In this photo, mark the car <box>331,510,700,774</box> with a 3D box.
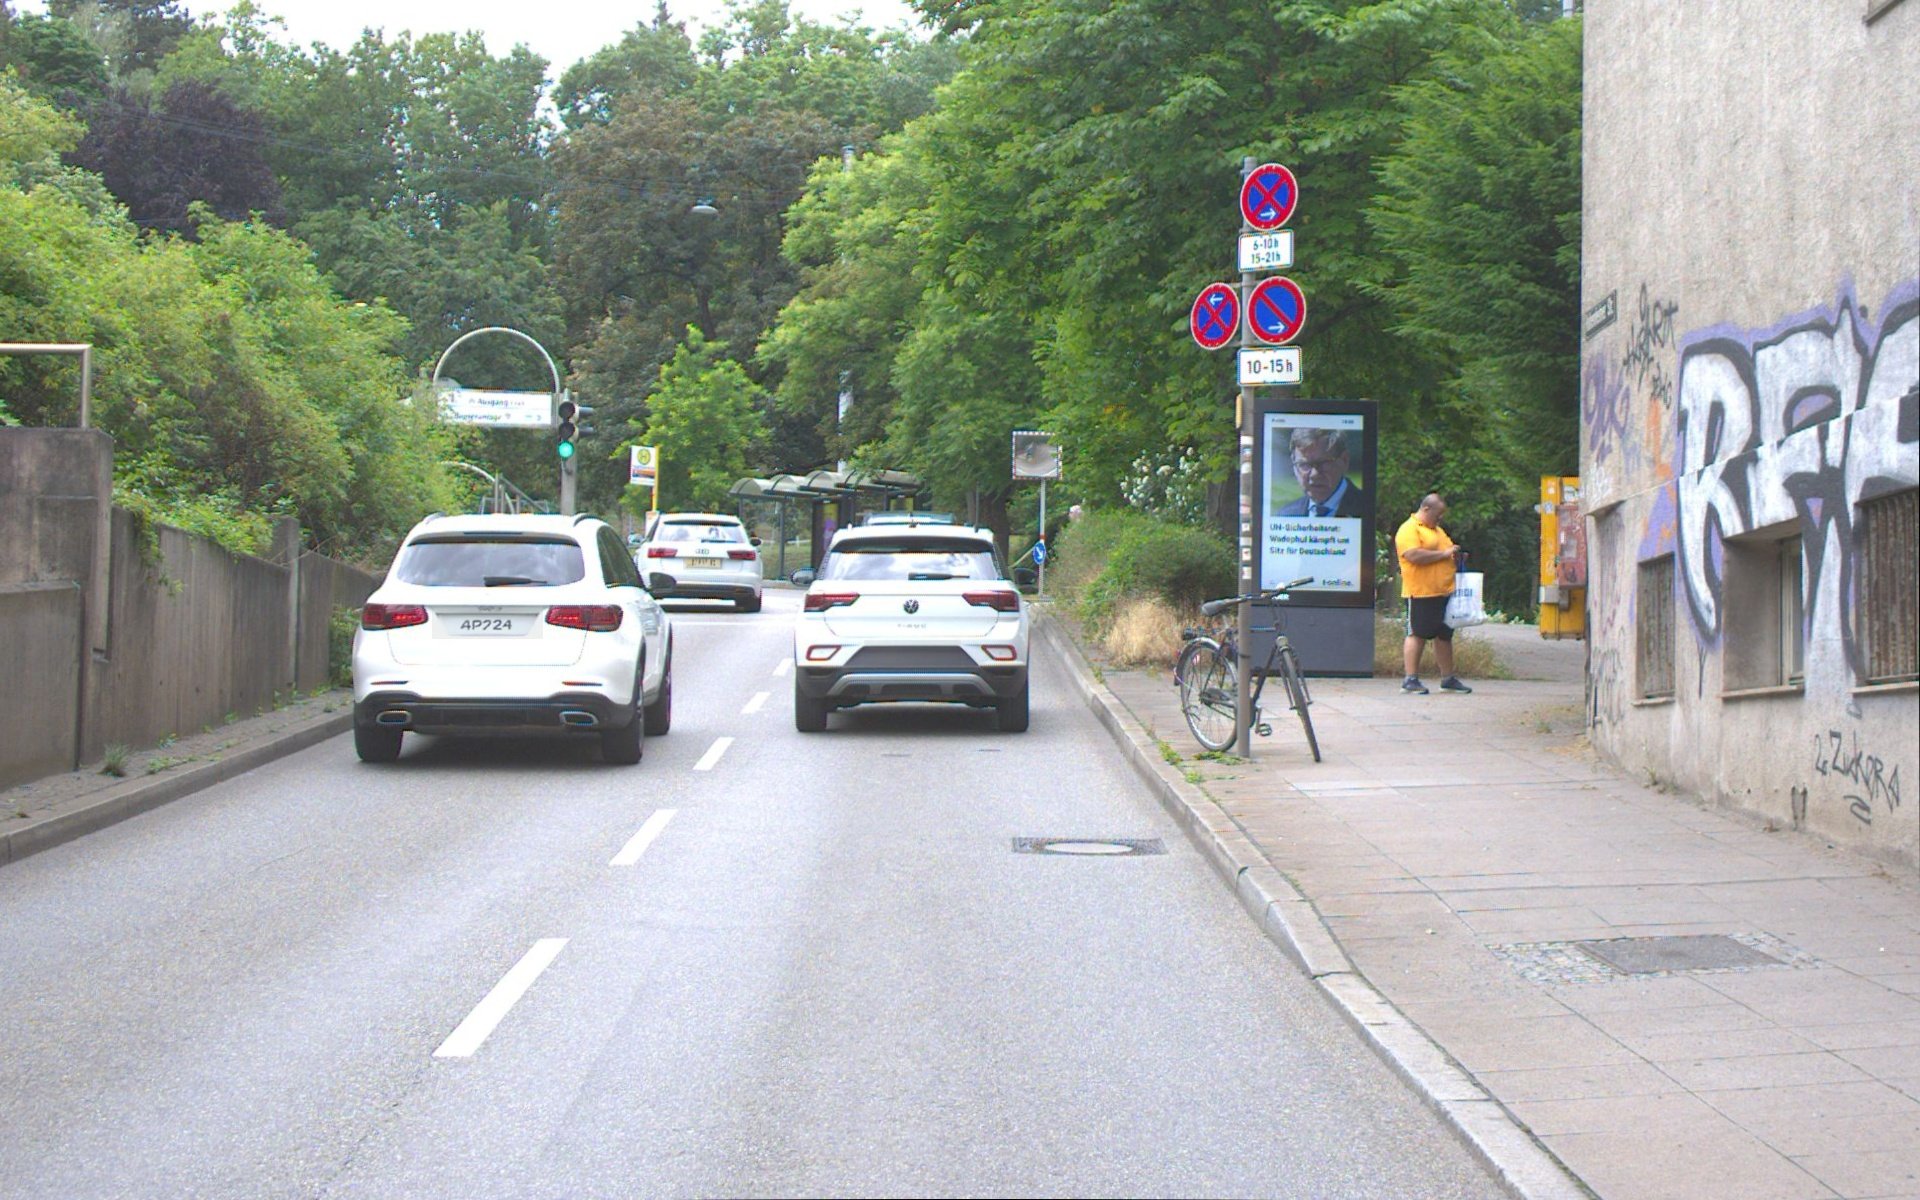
[{"bbox_3d":[-2.964,0.226,23.802,1.877,1.646,4.341,0,1,1],"label":"car"}]

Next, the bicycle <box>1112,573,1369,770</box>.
[{"bbox_3d":[1.715,0.413,21.397,0.638,1.139,2.066,-1,1,-25],"label":"bicycle"}]

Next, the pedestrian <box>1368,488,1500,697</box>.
[{"bbox_3d":[3.939,-0.072,28.618,0.832,1.706,0.822,-1,1,-14],"label":"pedestrian"}]

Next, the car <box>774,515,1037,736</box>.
[{"bbox_3d":[-0.377,0.154,26.940,1.865,1.551,3.894,2,1,1],"label":"car"}]

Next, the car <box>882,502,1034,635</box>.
[{"bbox_3d":[-0.038,-0.425,44.748,1.861,1.626,3.959,1,1,0],"label":"car"}]

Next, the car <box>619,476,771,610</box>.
[{"bbox_3d":[-3.963,-0.871,52.010,1.993,1.875,4.000,2,1,-1],"label":"car"}]

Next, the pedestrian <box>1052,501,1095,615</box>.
[{"bbox_3d":[1.721,-0.637,52.006,0.615,1.706,0.727,0,1,3],"label":"pedestrian"}]
